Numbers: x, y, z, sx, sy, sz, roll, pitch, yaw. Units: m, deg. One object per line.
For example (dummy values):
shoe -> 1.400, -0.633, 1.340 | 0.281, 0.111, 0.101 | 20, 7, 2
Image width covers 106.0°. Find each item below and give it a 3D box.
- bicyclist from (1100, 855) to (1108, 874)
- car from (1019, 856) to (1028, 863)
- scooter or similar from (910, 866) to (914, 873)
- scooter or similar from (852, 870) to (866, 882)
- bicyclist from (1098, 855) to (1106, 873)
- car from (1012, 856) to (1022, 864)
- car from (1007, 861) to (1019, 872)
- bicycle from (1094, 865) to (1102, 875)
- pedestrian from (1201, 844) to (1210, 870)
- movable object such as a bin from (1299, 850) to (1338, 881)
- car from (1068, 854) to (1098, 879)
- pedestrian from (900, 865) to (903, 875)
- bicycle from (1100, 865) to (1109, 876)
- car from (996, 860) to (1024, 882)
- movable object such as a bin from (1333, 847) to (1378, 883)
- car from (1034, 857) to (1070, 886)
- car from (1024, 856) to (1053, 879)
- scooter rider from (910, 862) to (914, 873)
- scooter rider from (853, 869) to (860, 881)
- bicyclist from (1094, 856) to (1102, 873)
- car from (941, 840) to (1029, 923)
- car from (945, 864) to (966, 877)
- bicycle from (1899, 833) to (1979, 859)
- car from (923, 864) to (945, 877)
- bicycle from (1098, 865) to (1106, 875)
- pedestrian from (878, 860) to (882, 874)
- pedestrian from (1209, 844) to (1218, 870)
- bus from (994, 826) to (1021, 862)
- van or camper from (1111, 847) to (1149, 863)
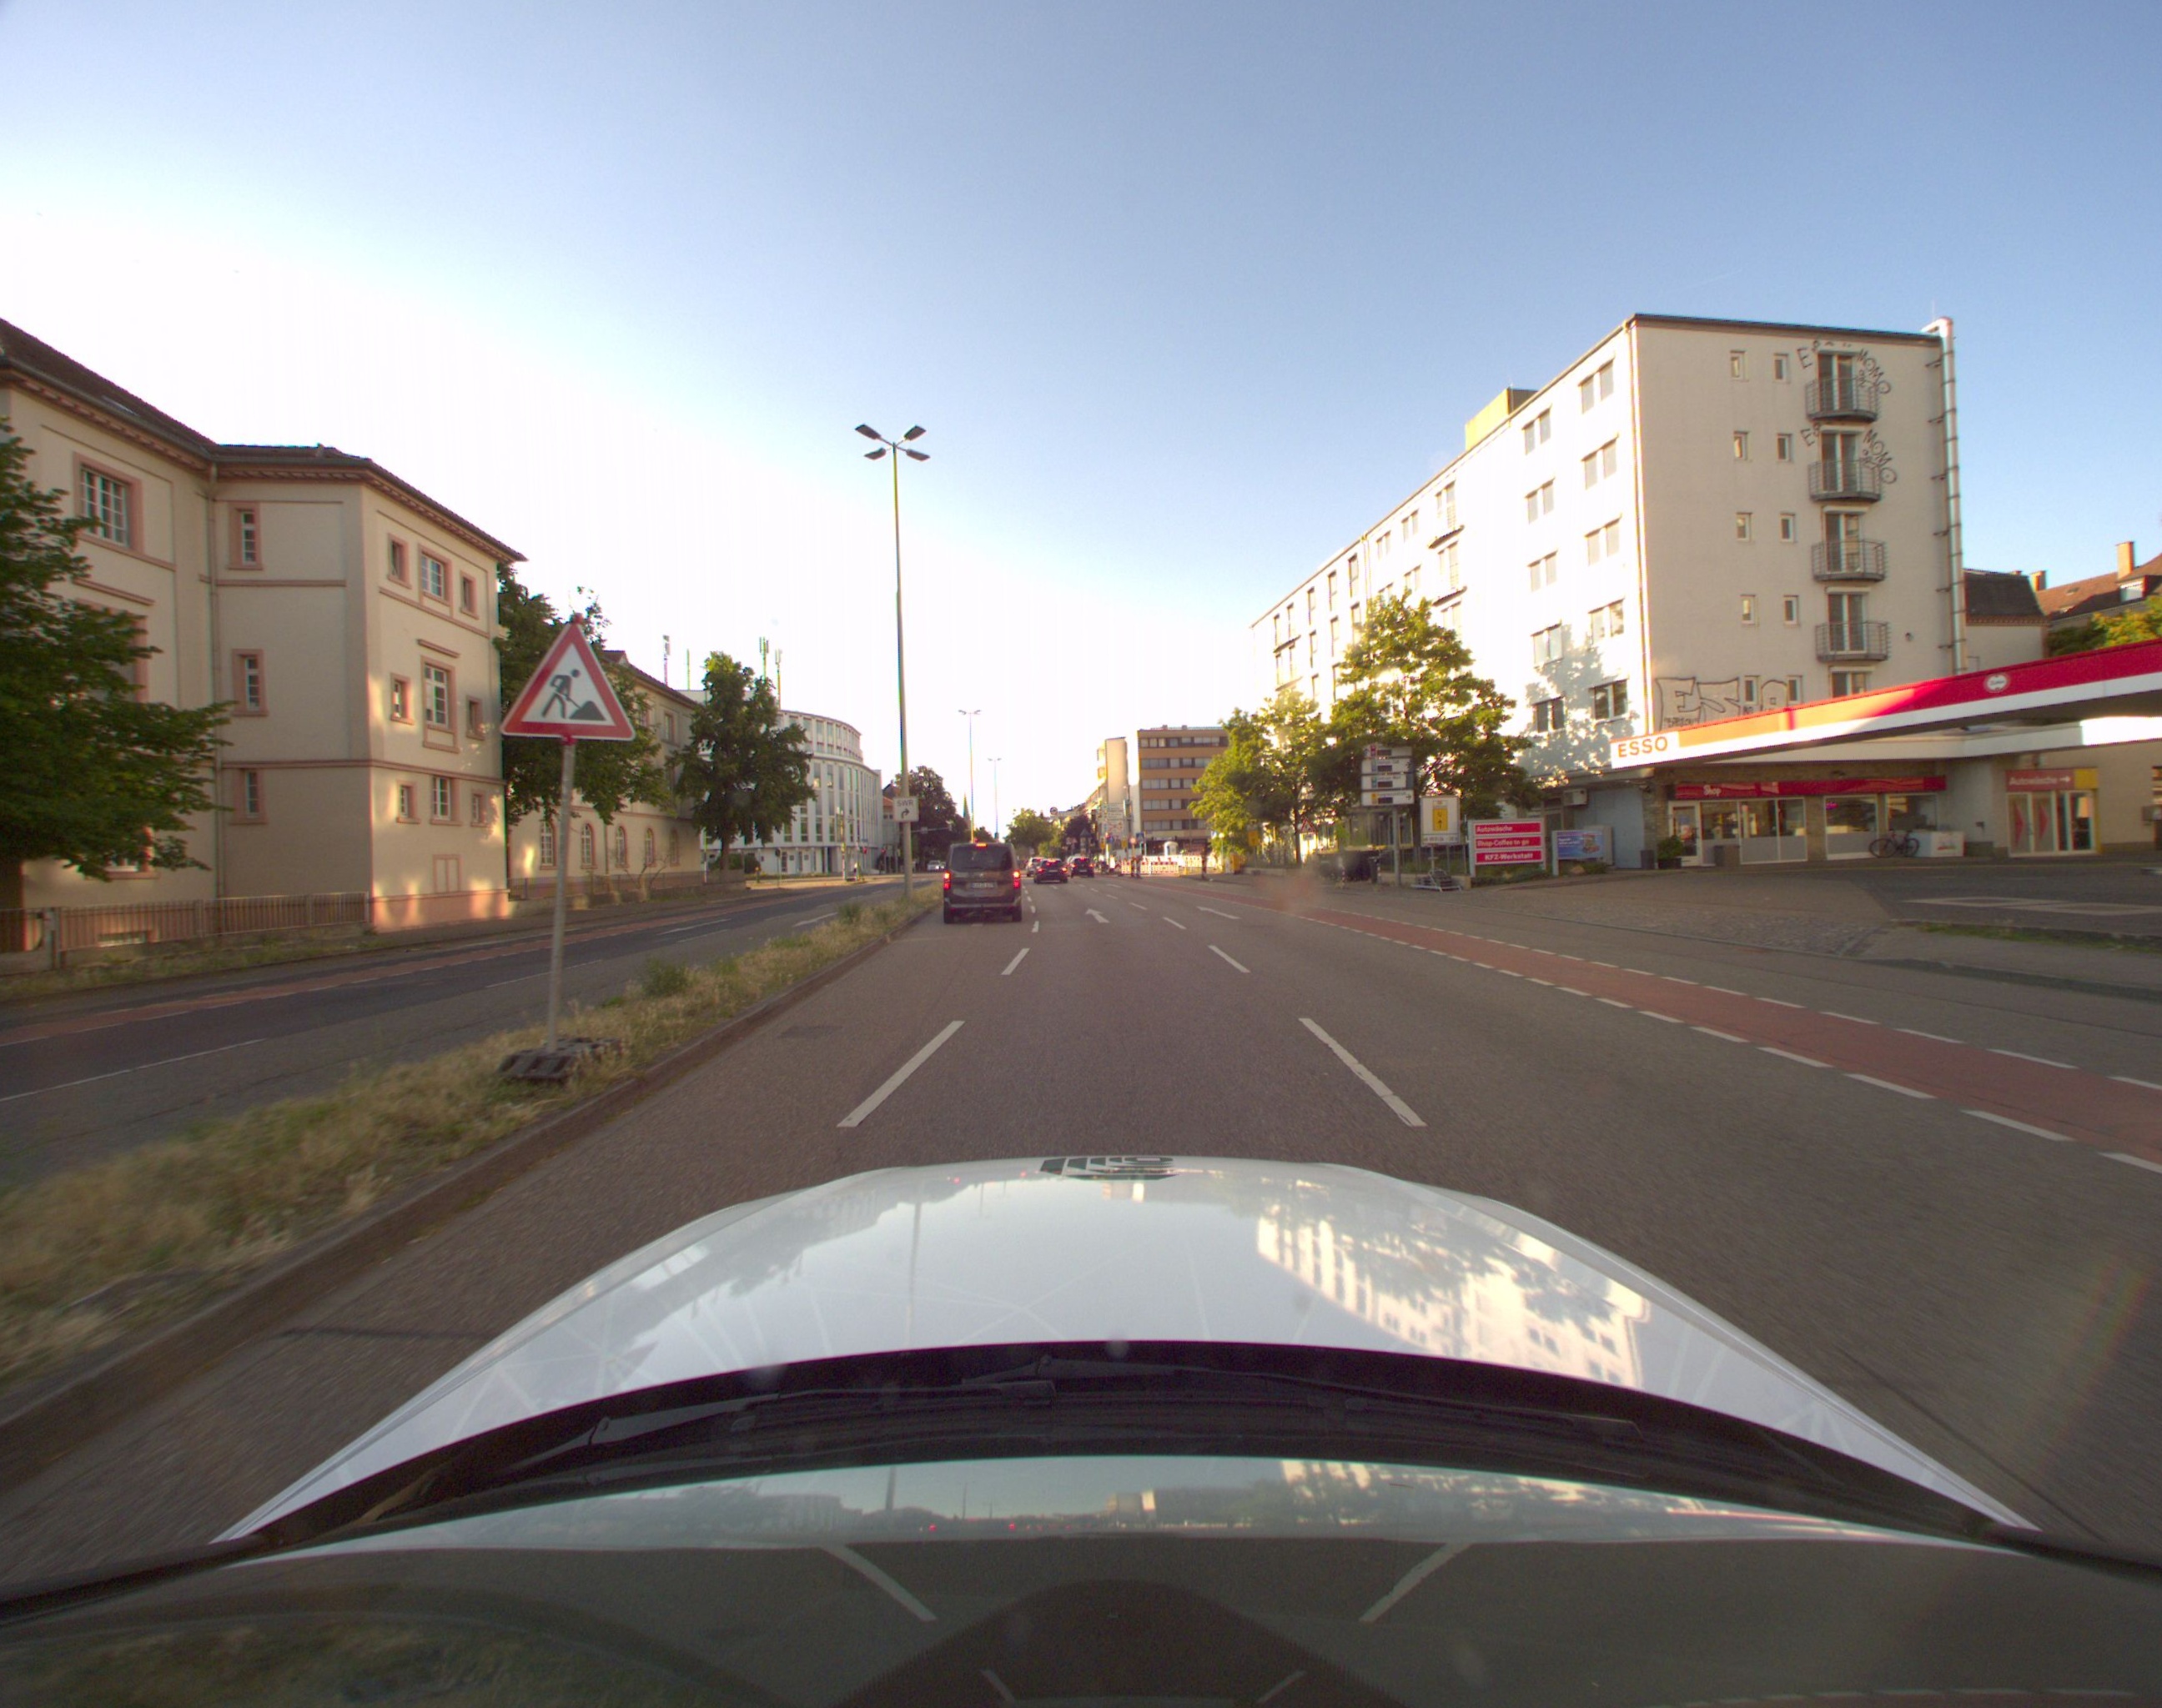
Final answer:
bicyclist -> 1.824, 0.845, 65.218 | 0.540, 1.459, 0.640 | -2, 0, -4
car -> -14.995, 1.418, 212.978 | 1.848, 1.708, 3.714 | -2, 0, -9
scooter or similar -> -21.944, 2.030, 105.912 | 0.357, 0.896, 0.903 | -2, 0, -3
scooter or similar -> -19.203, 1.888, 70.498 | 1.100, 0.976, 0.556 | -1, -1, -15
bicyclist -> 1.723, 0.864, 67.377 | 0.540, 1.459, 0.640 | -2, 0, -4
car -> -13.846, 1.241, 175.889 | 1.848, 1.708, 3.714 | -2, 0, -9
car -> -10.983, 1.999, 131.431 | 1.738, 1.586, 3.995 | -2, 0, -3
bicycle -> 1.470, 1.352, 69.971 | 0.532, 0.847, 1.681 | -2, 0, -3
pedestrian -> 9.759, 0.243, 63.748 | 0.490, 2.013, 0.663 | -2, 0, -5
movable object such as a bin -> 11.341, 0.536, 38.996 | 1.456, 1.386, 1.549 | -2, 0, 4
car -> 0.100, 0.915, 59.810 | 1.989, 1.656, 4.294 | -2, 0, -3
pedestrian -> -23.668, 2.094, 107.383 | 0.353, 1.290, 0.379 | -2, 0, -4
bicycle -> 1.851, 1.311, 65.165 | 0.532, 0.847, 1.681 | -2, 0, -3
car -> -5.641, 1.306, 64.001 | 1.992, 1.656, 4.289 | -2, 0, -7
movable object such as a bin -> 11.976, 0.467, 35.585 | 1.456, 1.454, 1.549 | -2, 0, 4
car -> -1.658, 0.970, 47.268 | 1.839, 1.544, 3.631 | -2, 0, 0
car -> -3.414, 1.063, 64.738 | 1.992, 1.656, 4.289 | -2, 0, -7
scooter rider -> -21.956, 1.738, 105.862 | 0.354, 1.373, 0.336 | -2, 0, -4
scooter rider -> -19.427, 1.781, 70.449 | 0.510, 1.036, 0.444 | -1, -1, -15
bicyclist -> 1.446, 0.891, 69.956 | 0.540, 1.459, 0.640 | -2, 0, -4
car -> -2.446, 0.616, 20.757 | 1.991, 1.900, 4.289 | 0, 0, -7
car -> -17.144, 2.242, 111.071 | 1.985, 1.595, 4.003 | -2, 0, 3
bicycle -> 29.641, -0.272, 28.161 | 0.623, 0.829, 1.801 | -2, 1, -24
car -> -19.905, 2.197, 110.579 | 1.985, 1.595, 4.003 | -2, 0, 3
bicycle -> 1.746, 1.326, 67.399 | 0.532, 0.847, 1.681 | -2, 0, -3
pedestrian -> -24.380, 1.622, 98.709 | 0.375, 1.659, 0.567 | -2, 0, -8
pedestrian -> 10.380, 0.249, 63.752 | 0.489, 2.013, 0.664 | -2, 0, -1
bus -> -9.944, -1.231, 109.414 | 3.287, 4.617, 9.974 | -1, -1, -7
van or camper -> 6.480, 0.117, 107.513 | 4.531, 2.013, 2.008 | -2, 0, 14
